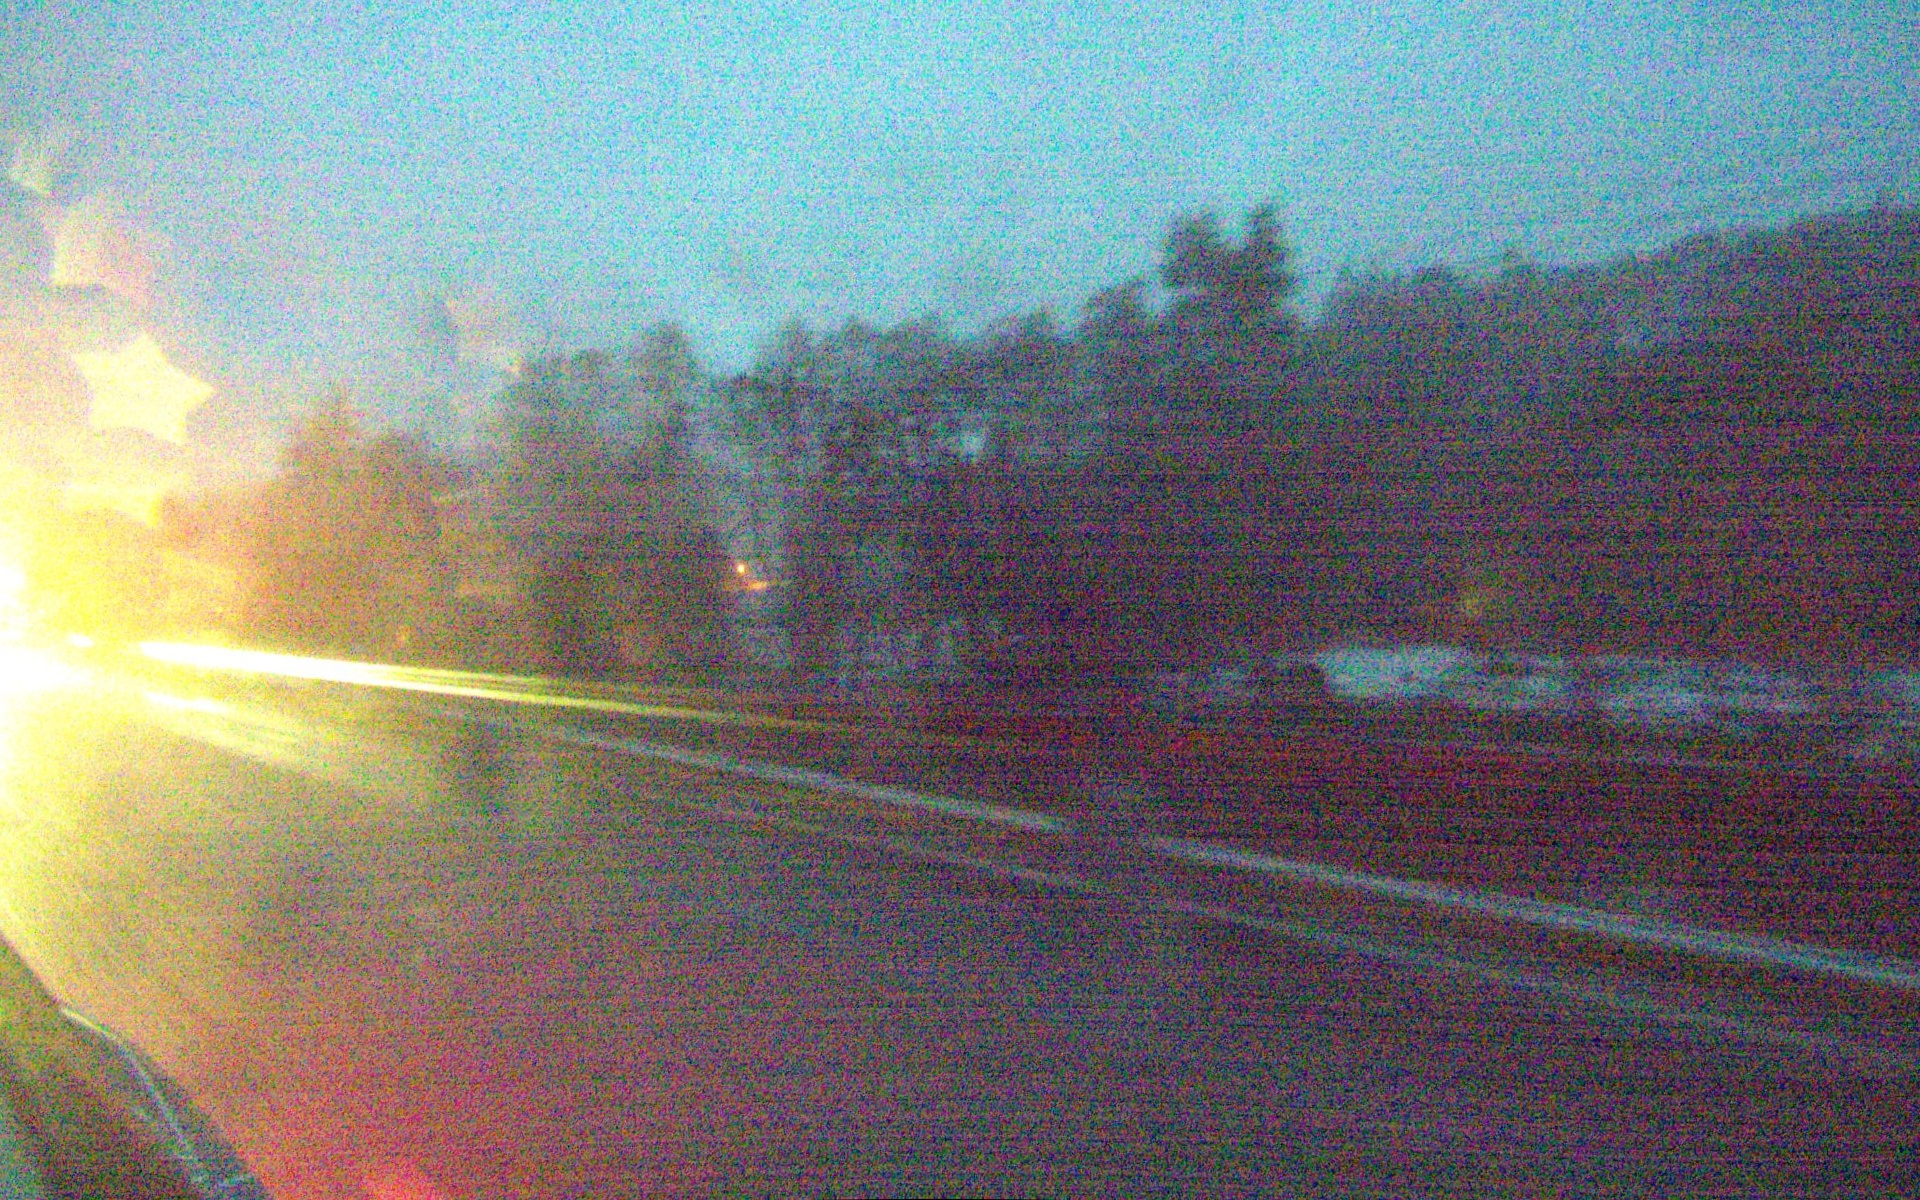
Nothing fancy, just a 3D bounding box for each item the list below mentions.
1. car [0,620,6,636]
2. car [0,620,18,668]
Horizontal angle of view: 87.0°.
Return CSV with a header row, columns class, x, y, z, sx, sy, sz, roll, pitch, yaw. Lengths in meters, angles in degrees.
class,x,y,z,sx,sy,sz,roll,pitch,yaw
car,-96.560,2.807,100.905,4.443,1.566,1.810,-2,1,44
car,-33.160,1.488,34.117,4.683,1.533,1.834,-1,0,45
